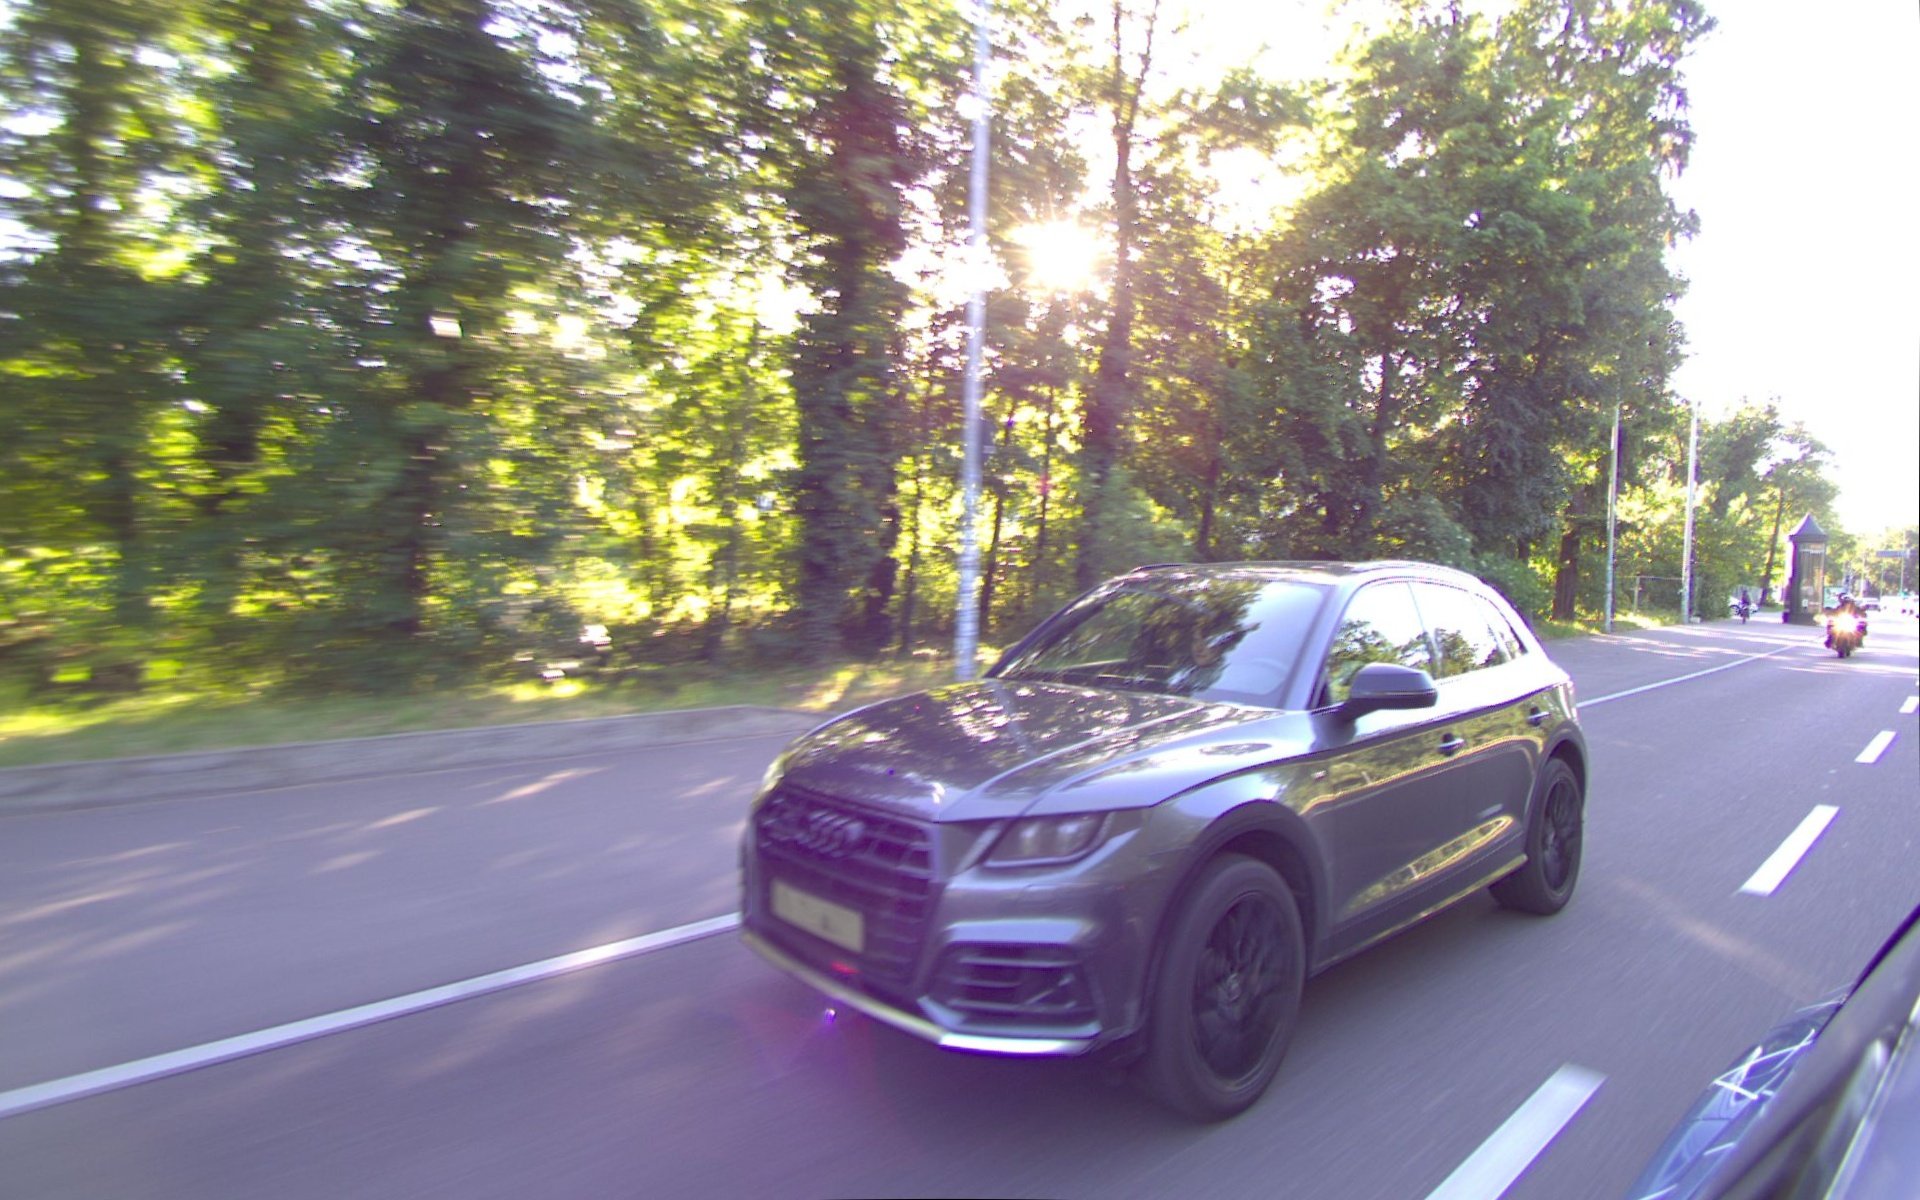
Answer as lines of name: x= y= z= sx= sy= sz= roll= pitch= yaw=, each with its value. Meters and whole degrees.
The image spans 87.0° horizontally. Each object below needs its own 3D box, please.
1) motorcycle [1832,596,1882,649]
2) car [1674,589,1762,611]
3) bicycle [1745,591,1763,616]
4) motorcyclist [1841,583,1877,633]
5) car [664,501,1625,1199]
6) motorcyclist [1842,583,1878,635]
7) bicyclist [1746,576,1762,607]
motorcycle: x=22.805 y=0.559 z=25.730 sx=0.913 sy=1.266 sz=2.917 roll=0 pitch=-1 yaw=42
car: x=50.013 y=-0.048 z=66.838 sx=1.787 sy=1.395 sz=4.382 roll=-1 pitch=1 yaw=-38
bicycle: x=38.165 y=0.172 z=48.624 sx=0.553 sy=1.151 sz=1.836 roll=-1 pitch=0 yaw=42
motorcyclist: x=23.378 y=0.194 z=26.324 sx=0.669 sy=1.280 sz=0.813 roll=1 pitch=1 yaw=42
car: x=1.199 y=0.562 z=4.486 sx=4.467 sy=1.625 sz=1.895 roll=-1 pitch=1 yaw=-42
motorcyclist: x=22.815 y=0.207 z=25.655 sx=0.669 sy=1.280 sz=0.813 roll=1 pitch=1 yaw=42
bicyclist: x=38.029 y=-0.422 z=48.469 sx=0.520 sy=1.487 sz=0.848 roll=0 pitch=0 yaw=42
